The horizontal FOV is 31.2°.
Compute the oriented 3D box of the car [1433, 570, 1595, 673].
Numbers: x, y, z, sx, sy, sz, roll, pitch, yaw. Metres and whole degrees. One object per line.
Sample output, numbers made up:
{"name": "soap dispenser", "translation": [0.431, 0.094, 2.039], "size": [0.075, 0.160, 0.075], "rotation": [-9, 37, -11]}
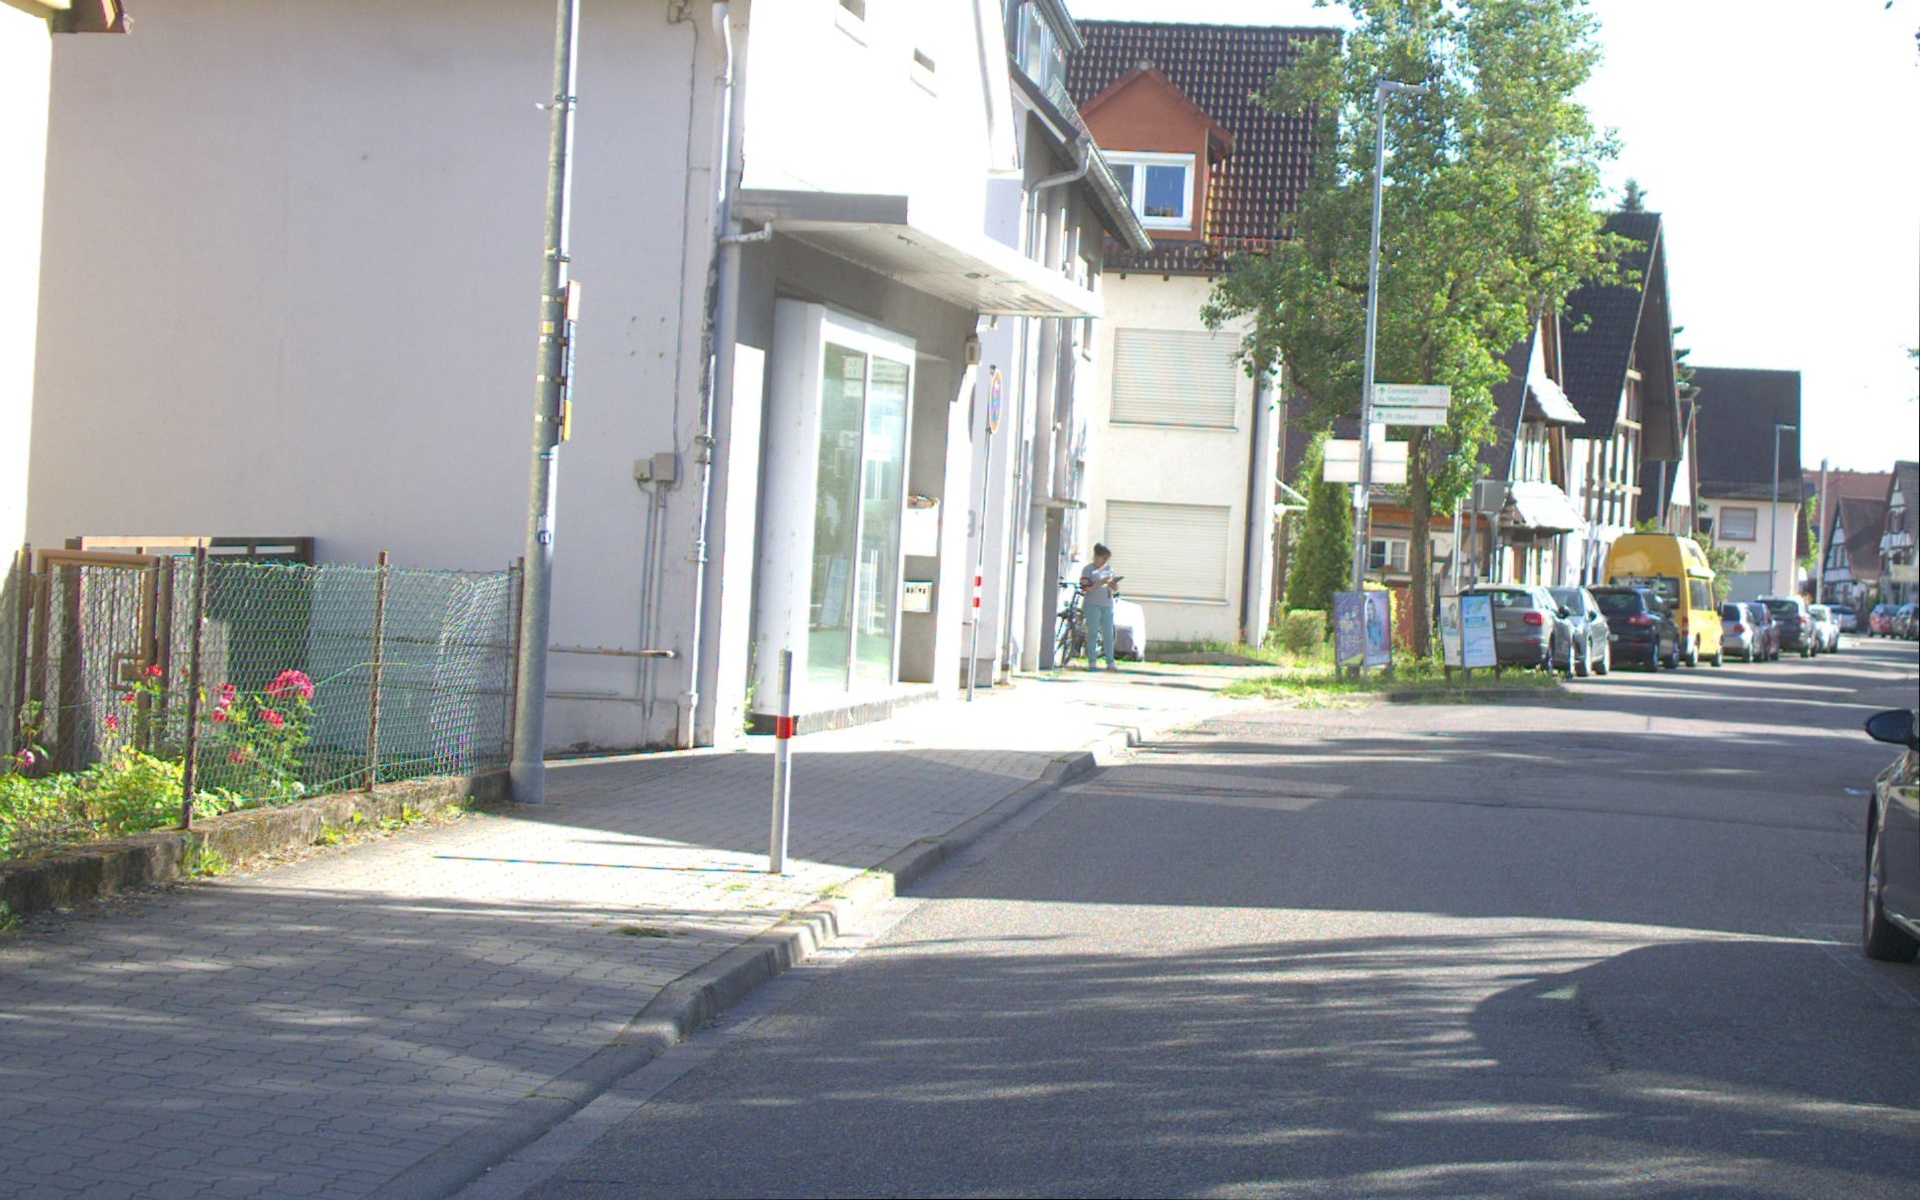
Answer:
{"name": "car", "translation": [8.922, 0.352, 55.122], "size": [1.869, 1.500, 4.103], "rotation": [3, 0, 18]}

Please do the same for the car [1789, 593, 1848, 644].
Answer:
{"name": "car", "translation": [26.307, 0.574, 105.306], "size": [1.589, 1.438, 3.612], "rotation": [4, 1, 15]}

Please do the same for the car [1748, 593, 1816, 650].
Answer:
{"name": "car", "translation": [22.494, 0.572, 94.011], "size": [1.589, 1.438, 3.612], "rotation": [4, 1, 15]}

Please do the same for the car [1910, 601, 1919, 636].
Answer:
{"name": "car", "translation": [44.931, 0.898, 157.329], "size": [1.973, 1.577, 3.994], "rotation": [4, 1, 4]}

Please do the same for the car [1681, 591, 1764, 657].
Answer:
{"name": "car", "translation": [18.087, 0.557, 81.487], "size": [1.646, 1.428, 3.612], "rotation": [4, 1, 15]}

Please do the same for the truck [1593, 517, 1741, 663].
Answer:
{"name": "truck", "translation": [15.072, -0.174, 73.042], "size": [2.270, 2.858, 5.777], "rotation": [3, 0, 18]}

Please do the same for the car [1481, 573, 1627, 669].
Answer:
{"name": "car", "translation": [10.281, 0.369, 59.295], "size": [1.808, 1.500, 4.103], "rotation": [3, 0, 18]}

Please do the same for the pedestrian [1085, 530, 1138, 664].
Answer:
{"name": "pedestrian", "translation": [1.954, -0.040, 44.373], "size": [0.484, 1.687, 0.556], "rotation": [4, -1, 13]}

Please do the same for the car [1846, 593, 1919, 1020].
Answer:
{"name": "car", "translation": [4.393, 0.775, 12.567], "size": [1.808, 1.431, 4.284], "rotation": [3, 2, 10]}

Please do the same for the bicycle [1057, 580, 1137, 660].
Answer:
{"name": "bicycle", "translation": [1.906, 0.288, 47.684], "size": [0.578, 1.049, 2.034], "rotation": [3, 0, 16]}

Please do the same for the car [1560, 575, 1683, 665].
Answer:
{"name": "car", "translation": [13.063, 0.397, 67.777], "size": [1.808, 1.616, 3.877], "rotation": [3, 0, 18]}

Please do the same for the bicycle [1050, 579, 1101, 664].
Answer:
{"name": "bicycle", "translation": [1.493, 0.284, 44.290], "size": [0.423, 1.049, 1.380], "rotation": [3, 0, 10]}

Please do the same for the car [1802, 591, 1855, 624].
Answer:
{"name": "car", "translation": [46.390, 0.404, 183.597], "size": [1.973, 1.577, 3.994], "rotation": [4, 1, 4]}
